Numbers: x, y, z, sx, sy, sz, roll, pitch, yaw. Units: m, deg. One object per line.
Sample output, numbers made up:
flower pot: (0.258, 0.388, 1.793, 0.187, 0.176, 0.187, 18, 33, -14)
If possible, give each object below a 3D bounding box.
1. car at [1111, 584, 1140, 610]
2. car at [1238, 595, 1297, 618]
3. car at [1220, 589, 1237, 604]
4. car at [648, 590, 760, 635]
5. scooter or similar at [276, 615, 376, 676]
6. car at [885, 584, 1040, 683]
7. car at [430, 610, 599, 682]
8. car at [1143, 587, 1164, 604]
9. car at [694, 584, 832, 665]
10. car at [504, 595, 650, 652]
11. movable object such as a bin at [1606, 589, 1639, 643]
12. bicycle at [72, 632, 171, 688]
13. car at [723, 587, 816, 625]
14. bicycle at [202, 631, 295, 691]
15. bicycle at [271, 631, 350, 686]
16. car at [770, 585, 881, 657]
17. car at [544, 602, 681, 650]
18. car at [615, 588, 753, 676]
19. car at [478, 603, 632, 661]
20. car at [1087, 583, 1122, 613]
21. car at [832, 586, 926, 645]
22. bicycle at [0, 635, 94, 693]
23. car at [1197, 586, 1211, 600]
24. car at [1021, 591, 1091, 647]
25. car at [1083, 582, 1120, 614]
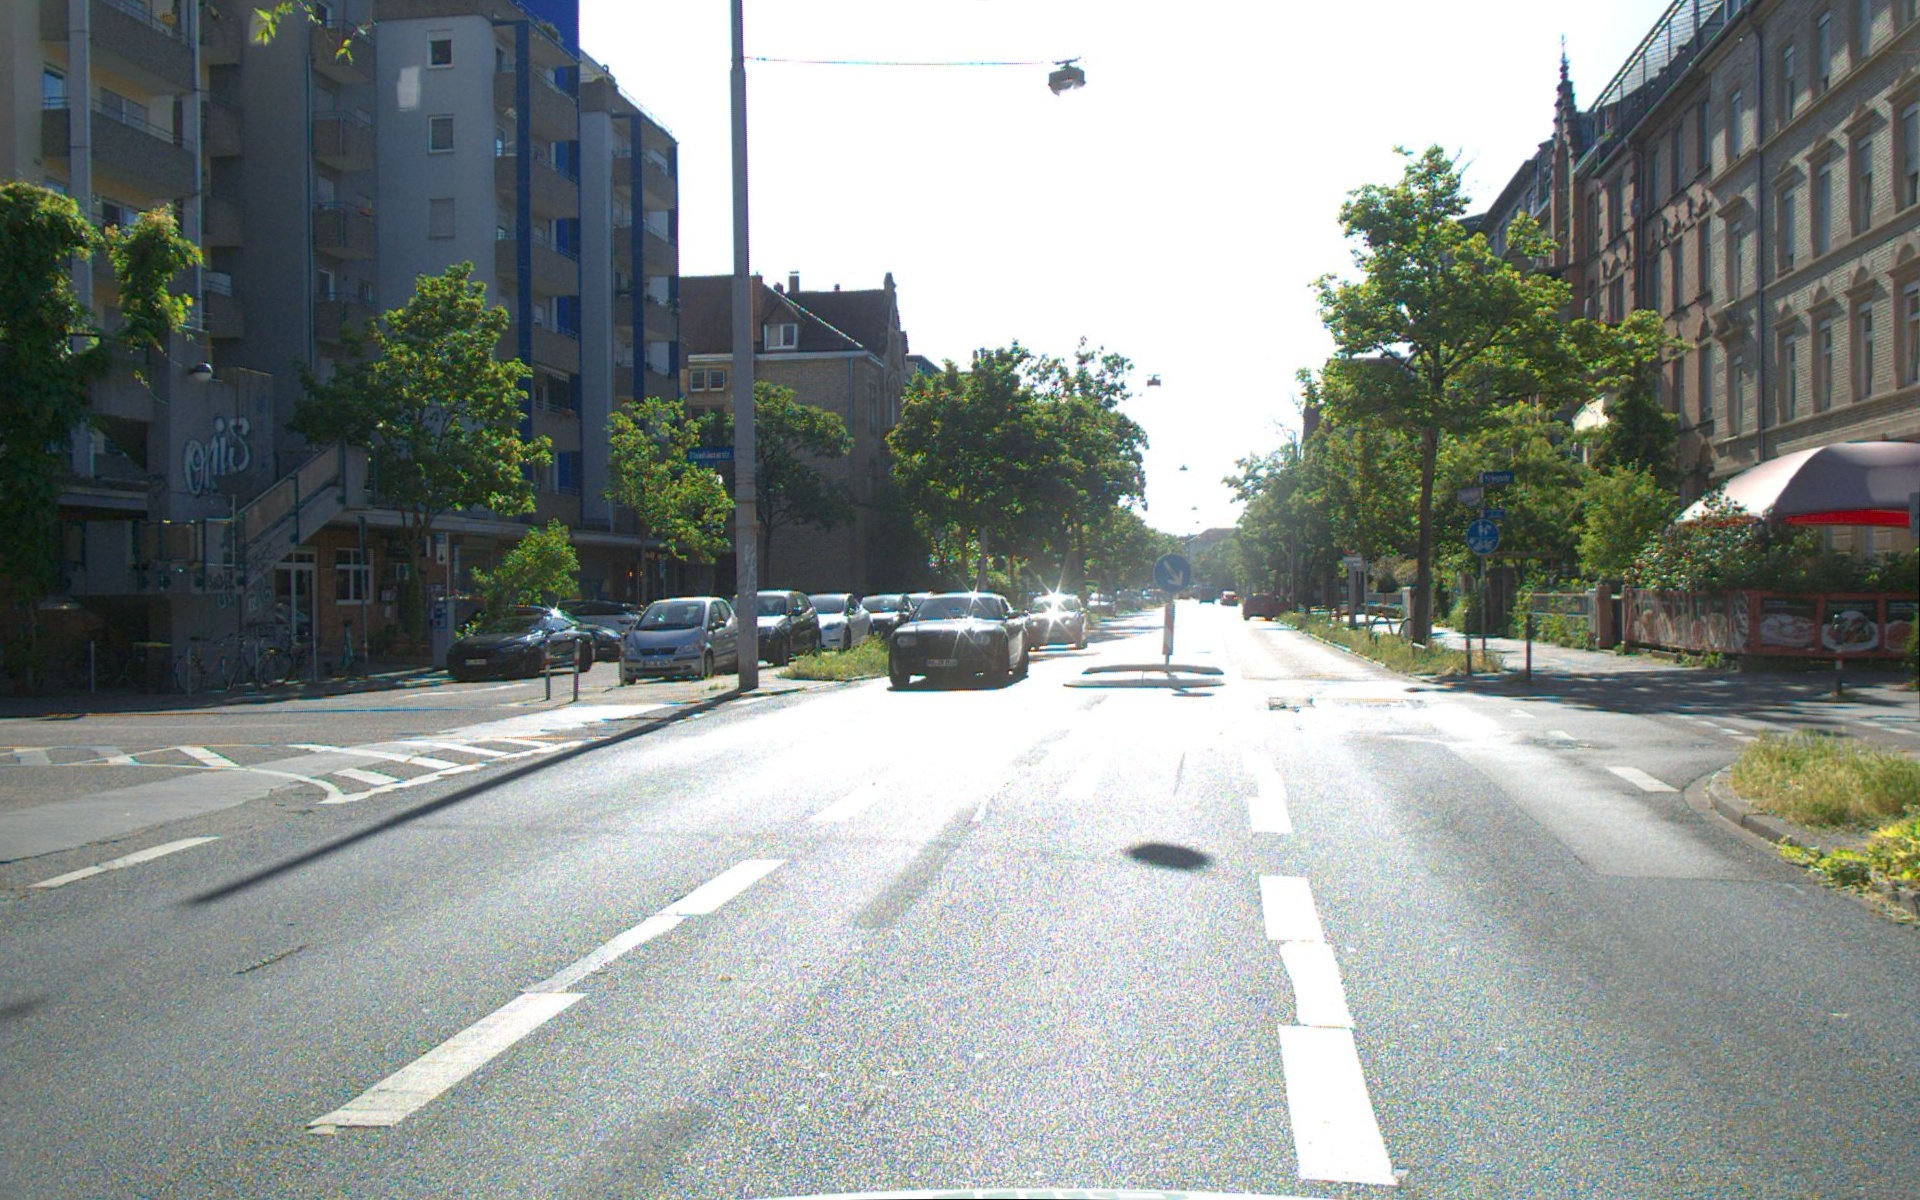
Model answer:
car: (13.691, -0.241, 136.758, 2.017, 2.049, 4.633, -1, 0, 11)
car: (17.510, 0.340, 94.050, 1.768, 1.244, 3.983, -1, 0, 37)
car: (31.223, -0.437, 192.438, 1.909, 1.738, 4.004, -1, 0, 10)
car: (-9.732, 0.465, 62.972, 3.902, 1.658, 1.688, -1, 0, 5)
scooter or similar: (-13.905, 0.994, 36.286, 1.925, 1.299, 0.631, -1, 1, 4)
car: (0.137, 0.502, 27.589, 1.826, 1.484, 4.597, -1, 0, 9)
car: (-9.958, 0.996, 37.343, 1.850, 1.422, 4.533, -2, 0, 11)
car: (21.640, -0.510, 185.046, 1.951, 1.725, 4.004, -1, 0, 11)
car: (-4.296, 0.497, 36.809, 1.828, 1.656, 4.508, -2, 0, 9)
car: (-11.572, 0.713, 50.123, 3.902, 1.635, 1.843, -1, 0, 5)
movable object such as a bin: (14.474, 0.351, 36.158, 0.556, 1.152, 0.552, -1, 0, 9)
bicycle: (-15.676, 1.124, 30.934, 1.585, 1.018, 0.414, 1, 1, -14)
car: (-8.613, 0.268, 75.064, 3.902, 1.658, 1.688, -1, 0, 5)
bicycle: (-13.594, 1.146, 31.641, 0.406, 1.049, 1.801, 2, 1, 25)
bicycle: (-13.186, 1.167, 33.625, 0.405, 1.018, 1.803, 2, 1, 18)
car: (-3.458, 0.502, 43.262, 1.848, 1.691, 4.534, -3, 0, 8)
car: (-11.036, 0.817, 52.649, 3.902, 1.449, 1.688, -1, 0, 5)
car: (-5.226, 0.572, 31.749, 1.683, 1.545, 3.534, -2, 0, 6)
car: (-11.560, 0.907, 47.371, 3.902, 1.578, 1.771, -1, 0, 5)
car: (10.110, -0.165, 115.619, 1.951, 2.049, 4.209, -1, 0, 11)
car: (-2.366, 0.440, 49.270, 1.823, 1.615, 4.004, -2, 0, 11)
bicycle: (-16.805, 1.162, 30.148, 1.759, 1.018, 0.484, -1, 1, 1)
car: (32.750, -0.907, 222.030, 1.720, 1.815, 4.004, -1, 0, 10)
car: (2.706, 0.506, 46.162, 1.616, 1.453, 3.510, -1, 0, 8)
car: (9.445, -0.137, 109.863, 1.951, 2.049, 4.209, -1, 0, 11)
